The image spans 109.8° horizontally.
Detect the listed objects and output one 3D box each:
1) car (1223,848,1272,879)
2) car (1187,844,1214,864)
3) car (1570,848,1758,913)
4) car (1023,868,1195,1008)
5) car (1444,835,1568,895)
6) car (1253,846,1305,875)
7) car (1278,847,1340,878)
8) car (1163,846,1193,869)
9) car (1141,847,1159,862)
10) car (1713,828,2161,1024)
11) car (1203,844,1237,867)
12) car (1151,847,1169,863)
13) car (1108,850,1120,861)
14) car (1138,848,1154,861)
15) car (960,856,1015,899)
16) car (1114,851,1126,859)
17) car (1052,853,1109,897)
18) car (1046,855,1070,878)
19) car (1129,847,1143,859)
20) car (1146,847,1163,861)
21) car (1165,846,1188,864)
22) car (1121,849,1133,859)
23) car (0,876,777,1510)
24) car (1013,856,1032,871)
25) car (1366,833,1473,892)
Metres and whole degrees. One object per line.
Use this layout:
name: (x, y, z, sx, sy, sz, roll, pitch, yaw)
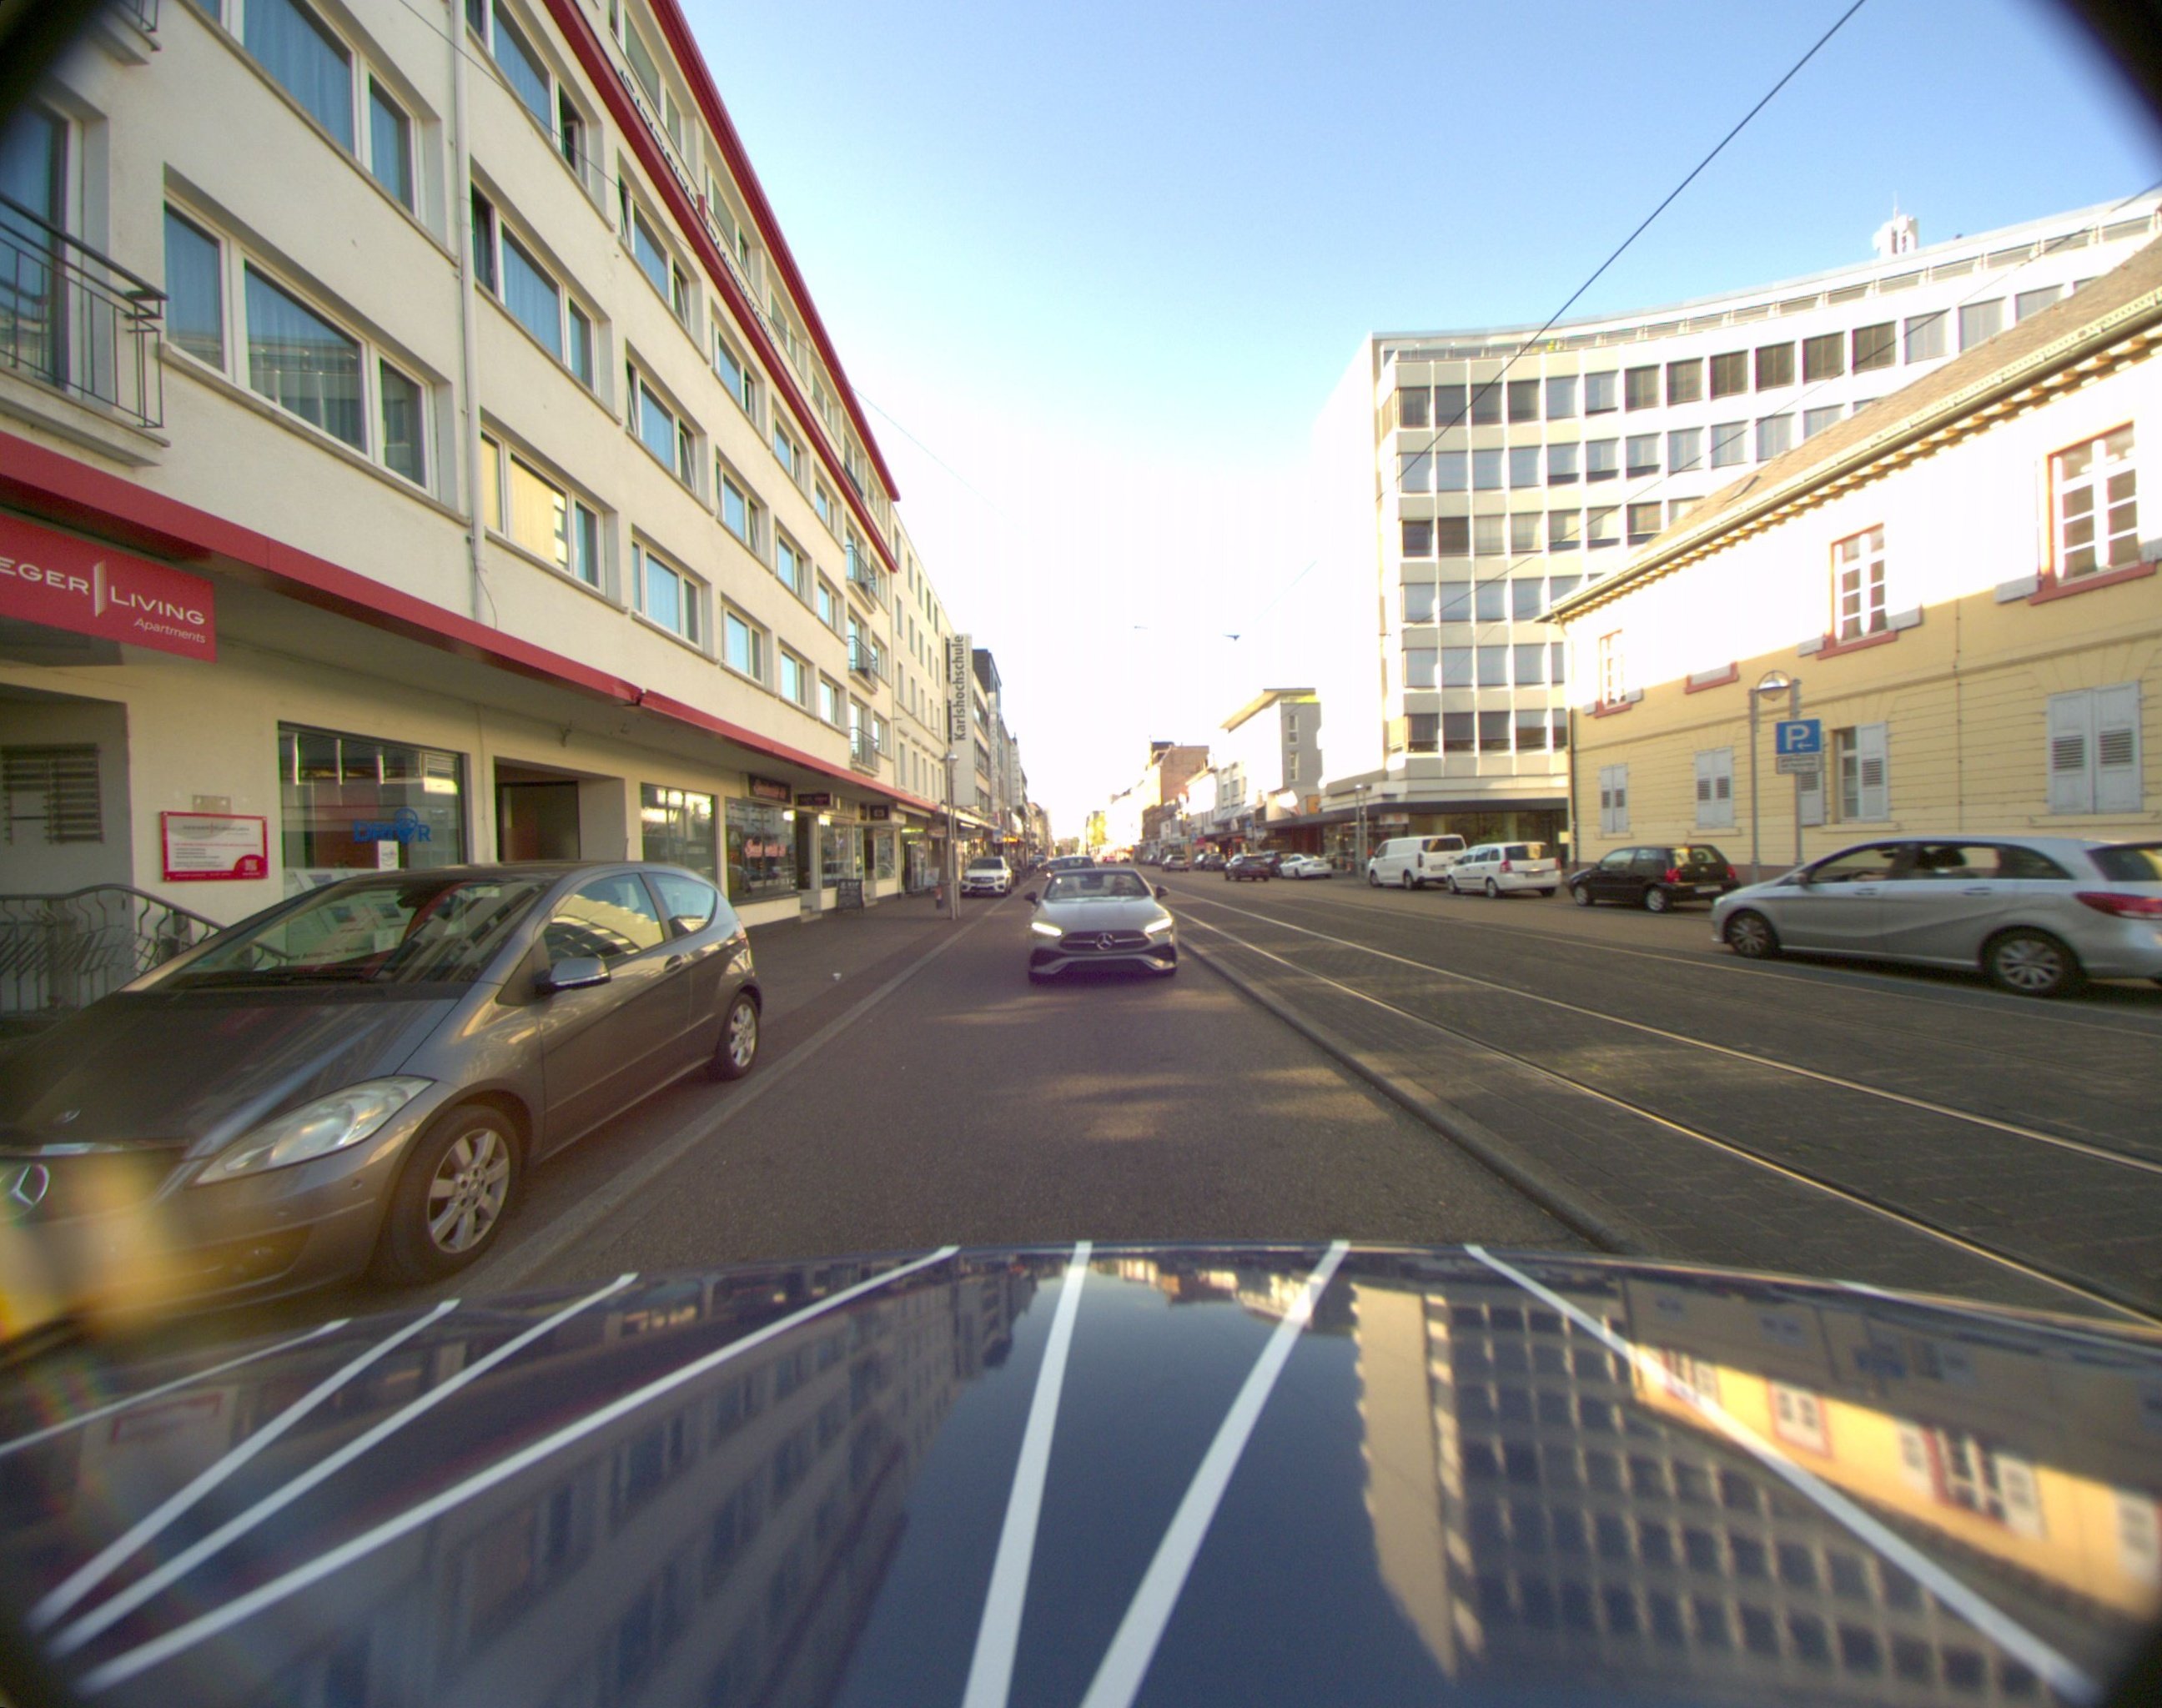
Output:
car: (9.028, 0.491, 41.486, 1.964, 1.499, 4.000, -2, 1, 4)
car: (11.664, -0.027, 74.359, 1.789, 1.870, 3.999, -1, 0, -2)
car: (12.912, 0.534, 17.074, 1.688, 1.246, 3.212, -2, 1, -1)
car: (0.175, 0.971, 10.505, 1.884, 1.375, 3.998, -2, 1, -4)
car: (12.767, 0.277, 23.123, 1.641, 1.600, 4.005, -2, 1, 3)
car: (12.331, 0.377, 47.685, 1.999, 1.694, 4.107, -3, 1, -2)
car: (12.596, 0.435, 42.255, 1.999, 1.521, 4.373, -2, 1, -1)
car: (8.390, 0.262, 66.113, 1.914, 1.883, 3.855, -2, 1, -2)
car: (9.935, 0.021, 109.345, 1.999, 2.002, 3.998, -2, 1, -2)
car: (9.421, 0.567, 8.199, 1.760, 1.587, 3.999, -1, 0, -2)
car: (12.022, 0.095, 65.835, 1.999, 1.849, 3.998, -2, 1, -2)
car: (10.473, 0.090, 100.828, 1.998, 2.002, 4.000, -1, 0, 1)
car: (6.537, 0.342, 150.801, 1.999, 2.002, 3.998, -2, 1, -2)
car: (10.513, 0.085, 123.305, 1.999, 2.002, 5.320, -1, 0, -2)
car: (-3.846, 0.903, 31.721, 1.999, 1.620, 3.998, -1, 0, -4)
car: (9.051, 0.223, 176.686, 2.148, 1.850, 3.998, -2, 1, -2)
car: (-0.092, 0.779, 29.959, 1.927, 1.533, 3.998, -2, 0, -4)
car: (-1.644, 0.886, 54.479, 1.648, 1.506, 3.844, -2, 0, -2)
car: (9.903, -0.192, 137.137, 1.999, 2.002, 3.999, -1, 0, -2)
car: (11.072, -0.050, 114.236, 1.999, 2.002, 3.998, -2, 1, -2)
car: (11.382, 0.079, 90.765, 2.200, 2.030, 3.999, -1, 0, -1)
car: (9.559, 0.084, 157.264, 1.999, 2.002, 3.999, -1, 0, -2)
car: (-3.225, 0.971, 3.975, 1.683, 1.537, 3.999, -2, 0, -1)
car: (-6.175, 0.945, 79.982, 1.714, 1.430, 3.756, -2, 1, -1)
car: (12.684, 0.297, 28.837, 2.040, 2.002, 4.621, -1, 0, 1)
